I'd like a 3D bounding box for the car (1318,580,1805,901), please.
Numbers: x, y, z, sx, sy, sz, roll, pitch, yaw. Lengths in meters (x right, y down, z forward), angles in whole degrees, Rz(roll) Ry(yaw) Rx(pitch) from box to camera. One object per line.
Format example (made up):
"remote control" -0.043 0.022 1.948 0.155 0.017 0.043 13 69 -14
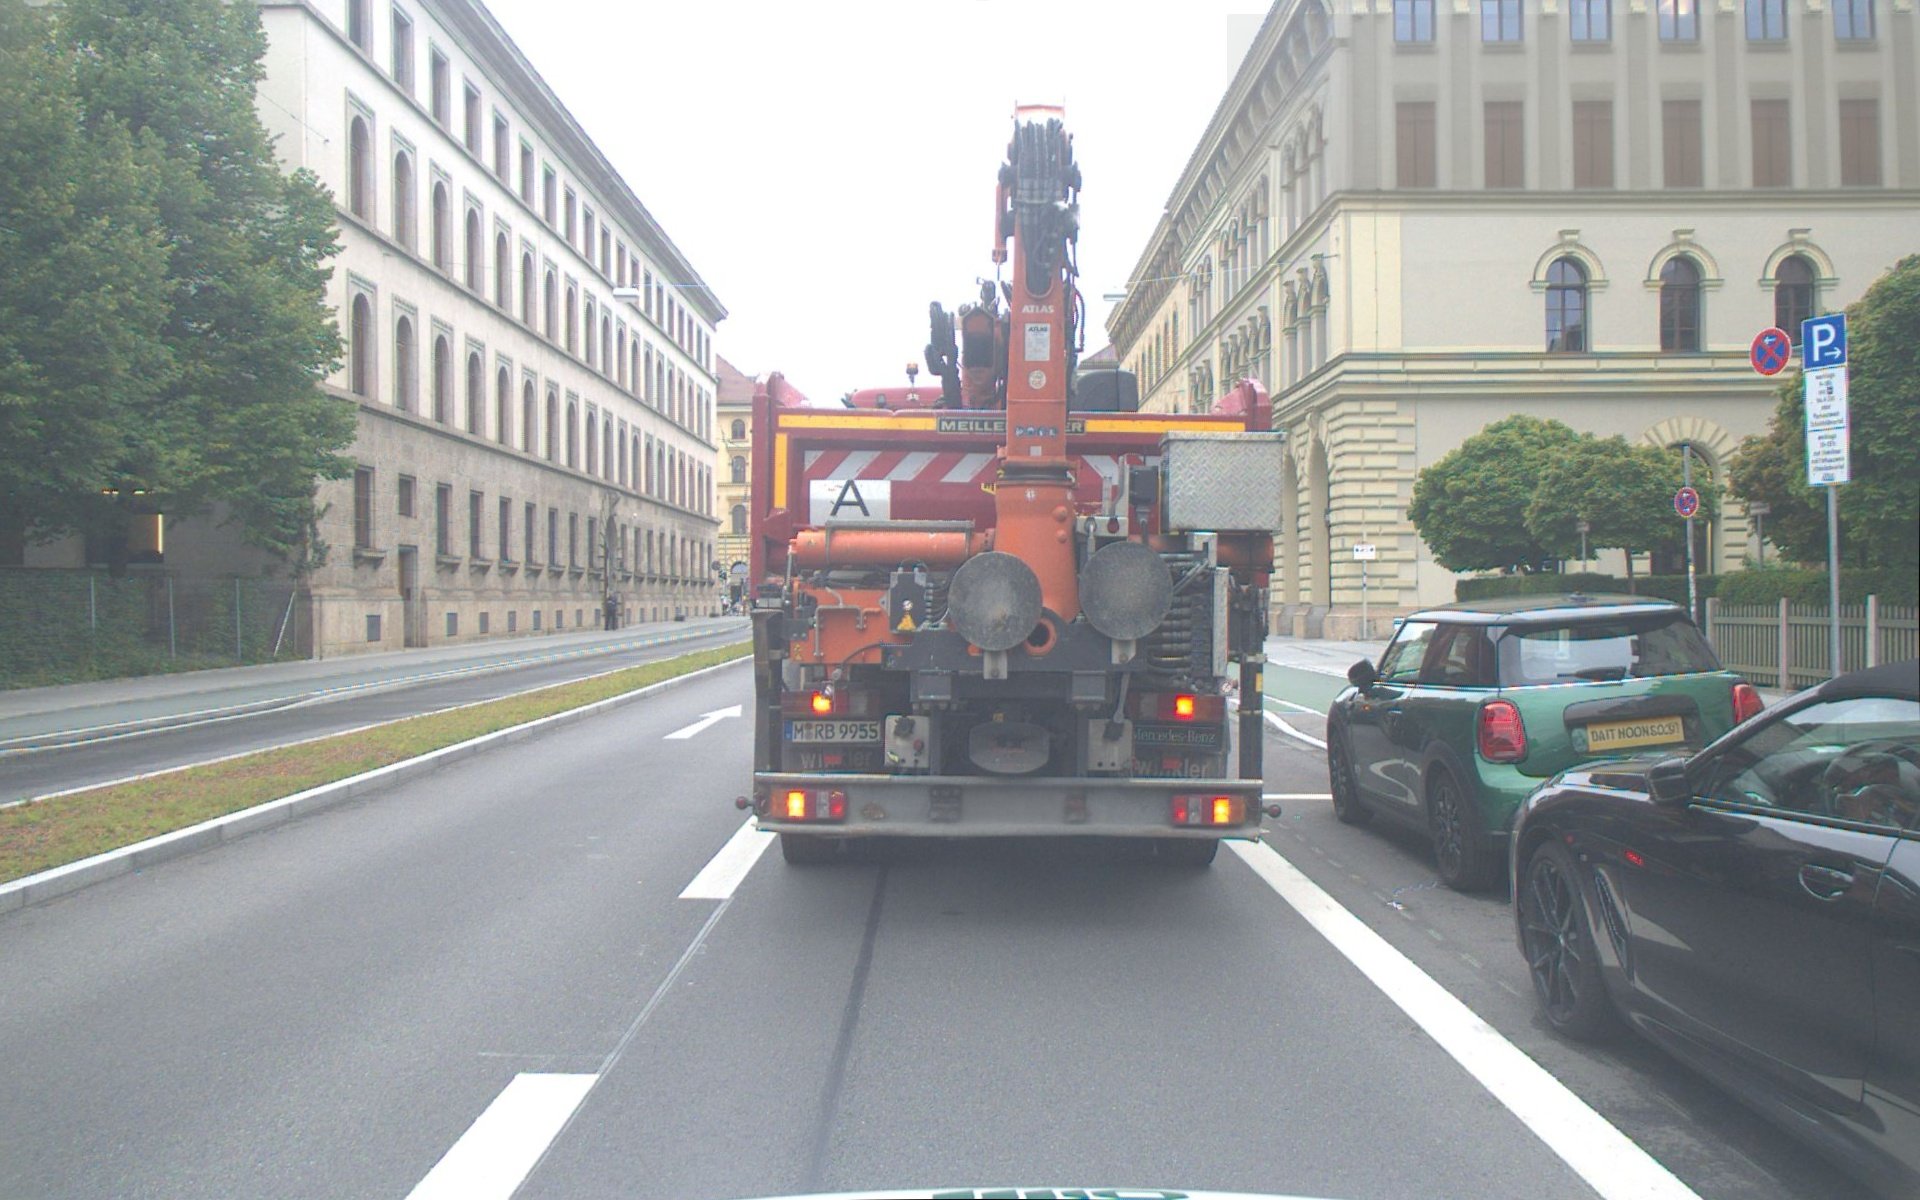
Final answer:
"car" 3.267 0.663 9.670 1.577 1.521 3.424 -1 0 0

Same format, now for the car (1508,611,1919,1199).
"car" 2.882 0.763 3.987 1.646 1.410 4.426 0 0 0

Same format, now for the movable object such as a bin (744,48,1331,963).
"movable object such as a bin" 0.260 -0.399 9.603 2.374 3.674 5.850 0 0 -1

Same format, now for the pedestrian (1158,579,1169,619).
"pedestrian" 9.520 -0.041 77.258 0.436 1.868 0.556 -1 0 1

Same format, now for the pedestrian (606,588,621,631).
"pedestrian" -15.423 0.423 73.572 0.577 1.863 0.498 0 0 -2
